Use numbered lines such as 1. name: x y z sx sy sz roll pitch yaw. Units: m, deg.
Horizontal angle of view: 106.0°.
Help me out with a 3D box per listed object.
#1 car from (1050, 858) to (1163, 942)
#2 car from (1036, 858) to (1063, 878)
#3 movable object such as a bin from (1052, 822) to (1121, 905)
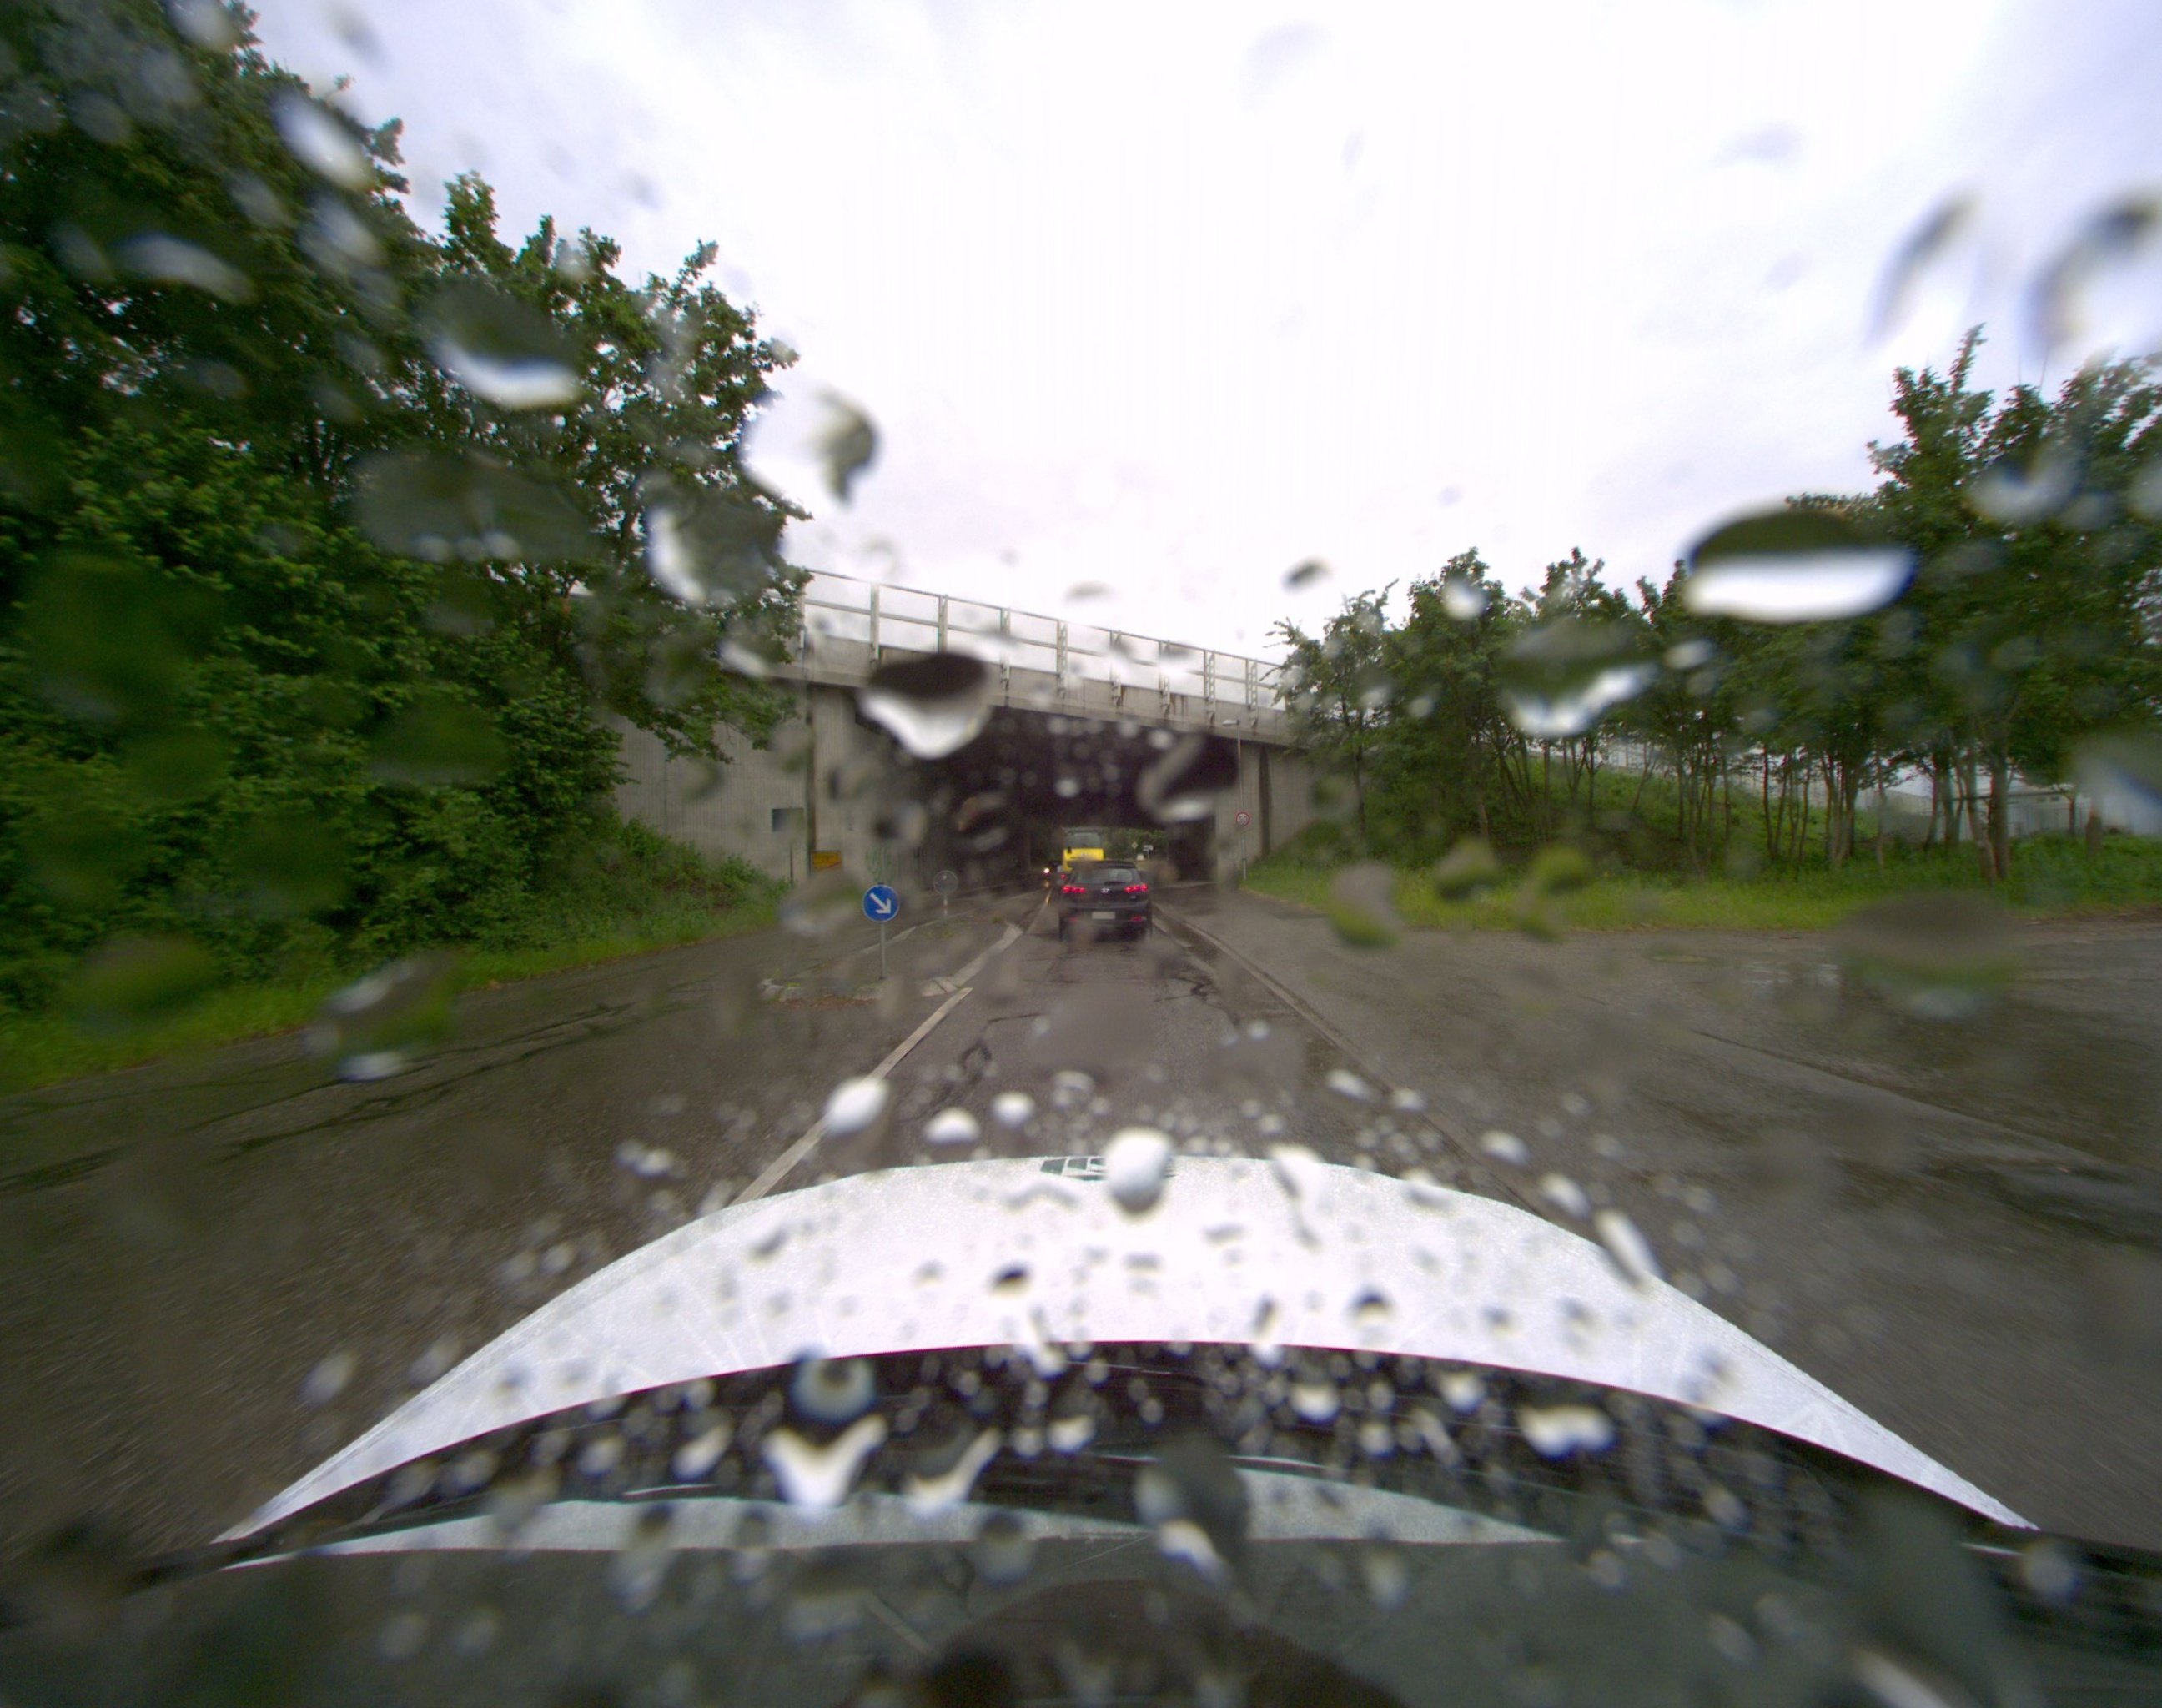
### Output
1. car: 0.462 0.821 16.269 1.987 1.487 4.000 0 0 0
2. car: -2.379 1.065 62.618 1.683 1.487 4.077 -1 0 4
3. movable object such as a bin: 0.206 0.331 29.780 2.238 2.669 6.626 0 0 0
